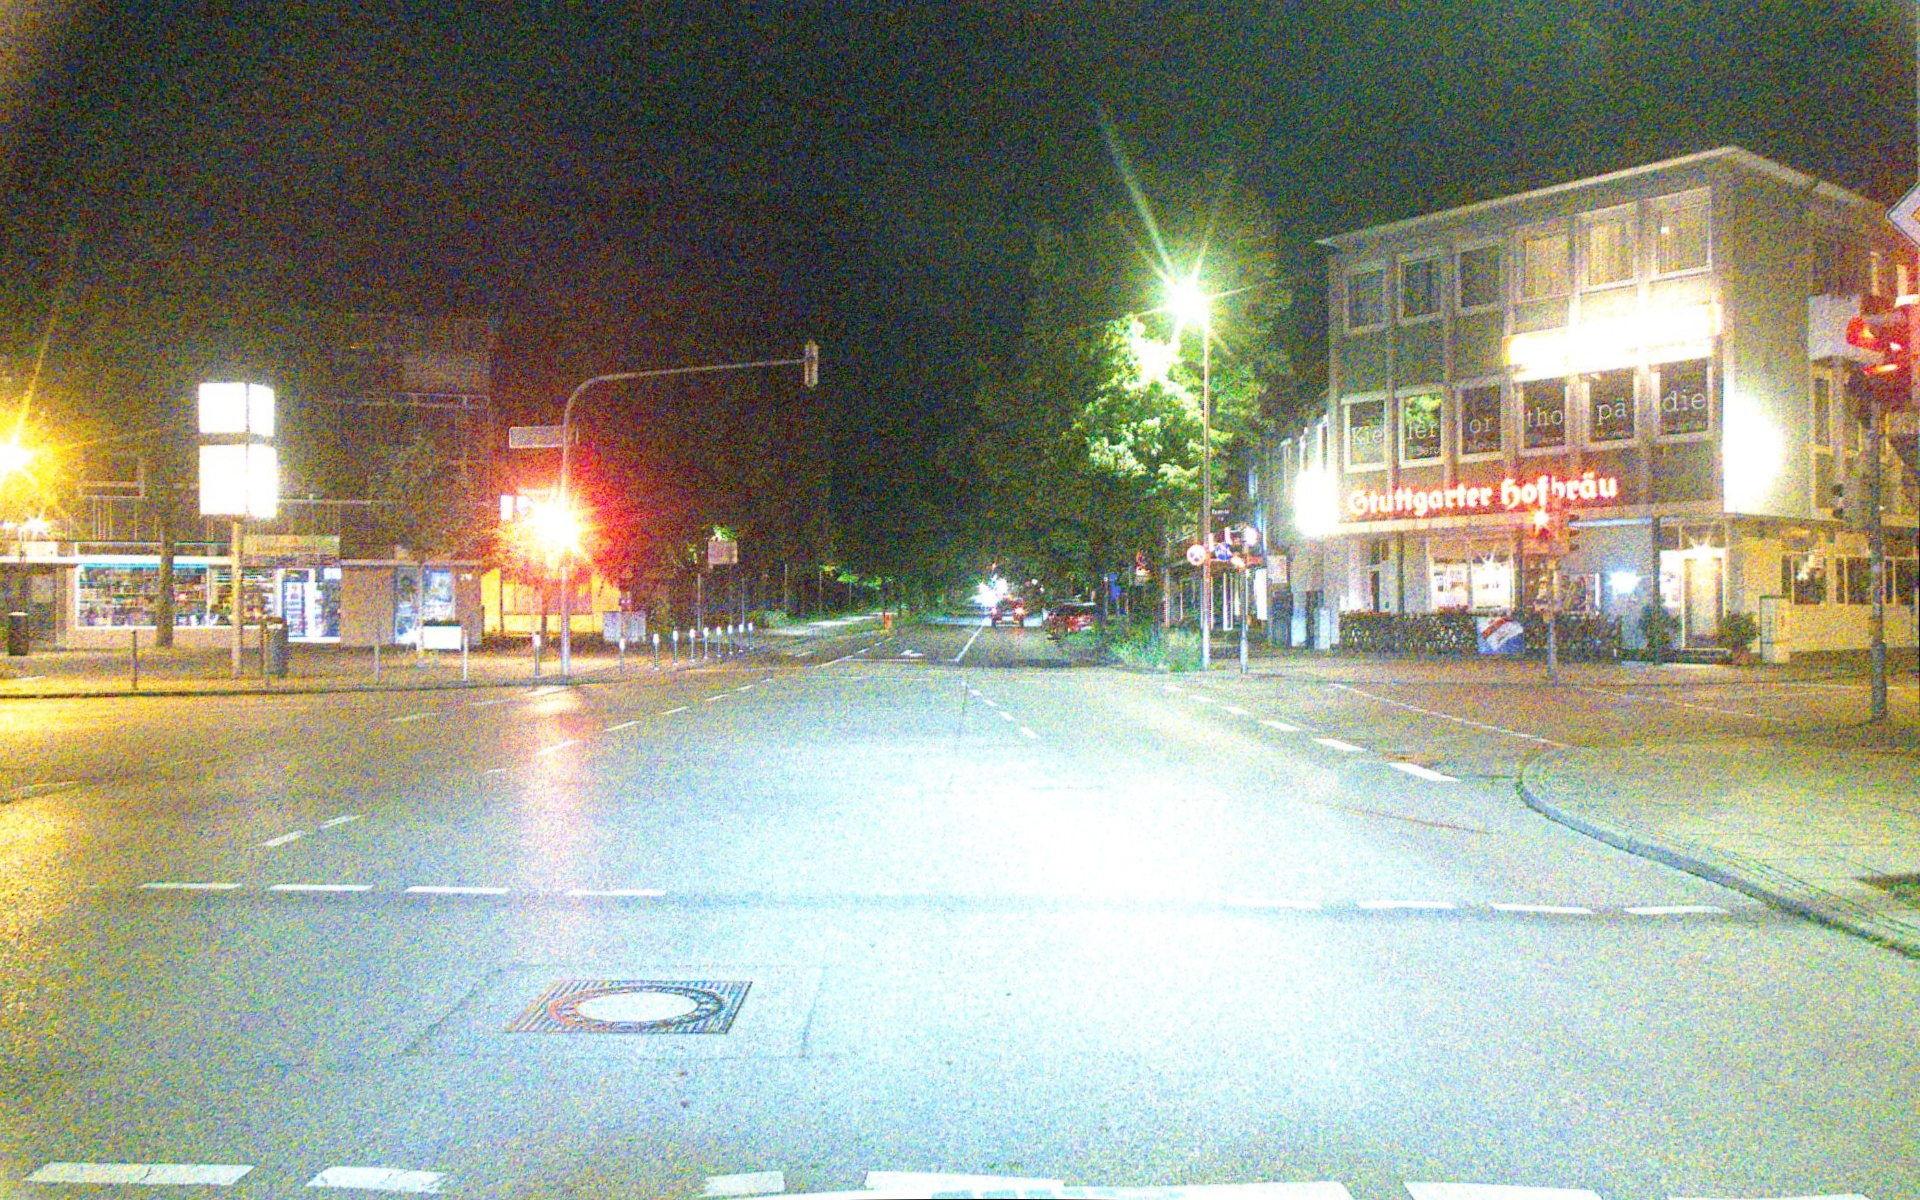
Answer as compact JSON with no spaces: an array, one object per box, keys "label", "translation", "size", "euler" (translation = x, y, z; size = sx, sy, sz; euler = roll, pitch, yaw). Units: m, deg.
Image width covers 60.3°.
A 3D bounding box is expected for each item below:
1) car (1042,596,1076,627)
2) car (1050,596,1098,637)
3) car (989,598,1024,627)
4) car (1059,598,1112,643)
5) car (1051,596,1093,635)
[{"label":"car","translation":[5.665,0.667,94.564],"size":[1.837,1.713,4.001],"euler":[0,0,2]},{"label":"car","translation":[4.729,0.680,68.852],"size":[1.837,1.643,4.001],"euler":[0,0,2]},{"label":"car","translation":[2.559,0.681,90.397],"size":[1.835,1.479,4.317],"euler":[1,0,2]},{"label":"car","translation":[4.796,0.776,63.610],"size":[1.837,1.643,4.001],"euler":[0,0,2]},{"label":"car","translation":[5.154,0.710,76.529],"size":[1.837,1.759,4.001],"euler":[0,0,2]}]
